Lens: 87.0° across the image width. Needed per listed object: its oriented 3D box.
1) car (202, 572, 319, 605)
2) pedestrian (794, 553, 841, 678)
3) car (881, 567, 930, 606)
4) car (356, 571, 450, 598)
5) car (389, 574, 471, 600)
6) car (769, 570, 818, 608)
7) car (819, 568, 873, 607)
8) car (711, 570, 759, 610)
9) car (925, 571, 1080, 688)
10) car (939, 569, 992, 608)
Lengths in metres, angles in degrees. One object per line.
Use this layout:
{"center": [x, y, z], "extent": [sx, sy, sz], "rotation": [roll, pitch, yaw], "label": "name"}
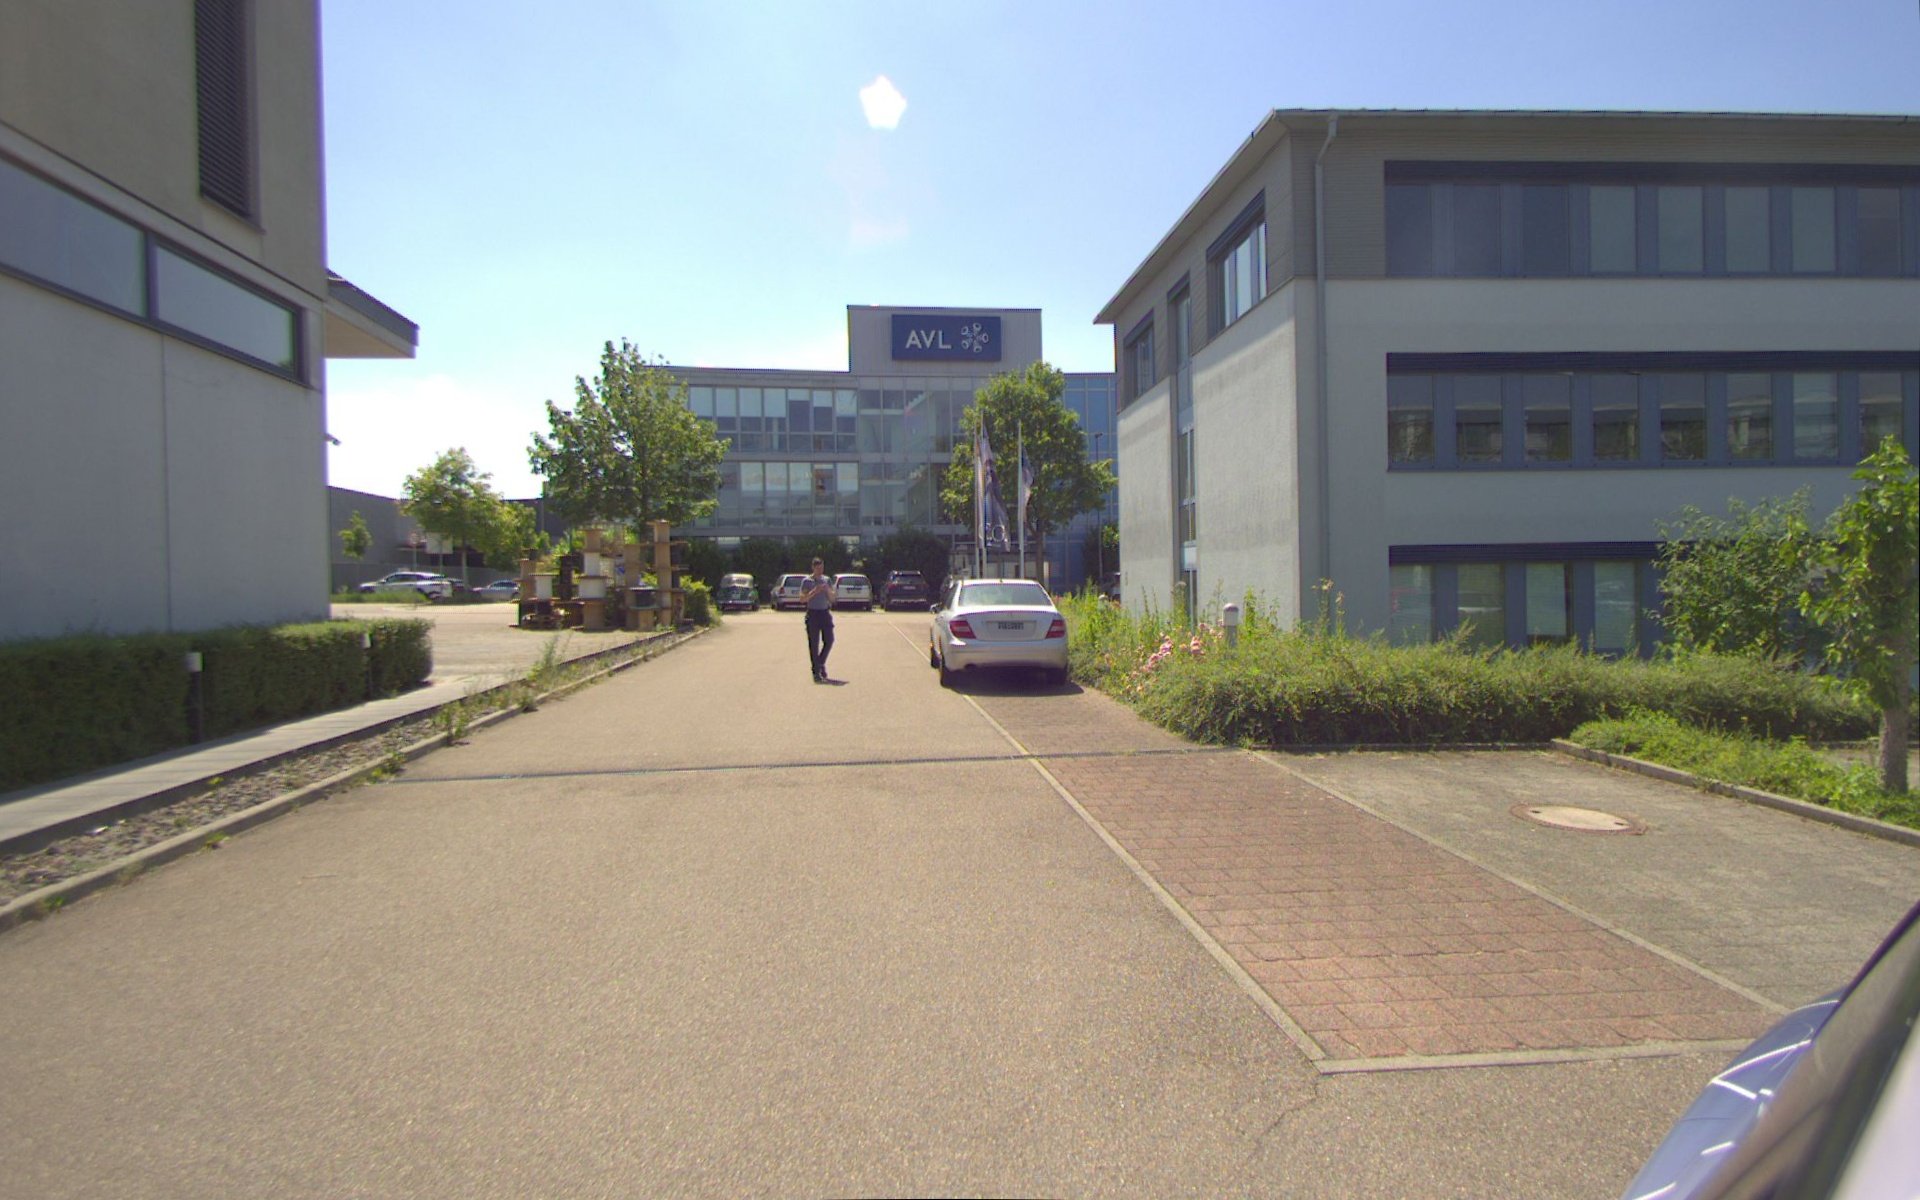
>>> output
{"center": [-32.042, -0.503, 46.404], "extent": [4.372, 1.433, 1.746], "rotation": [0, 0, 8], "label": "car"}
{"center": [-2.090, 0.215, 14.806], "extent": [0.606, 1.779, 0.789], "rotation": [-1, 0, -12], "label": "pedestrian"}
{"center": [-2.323, -0.564, 42.185], "extent": [1.714, 1.538, 4.005], "rotation": [-1, 1, -7], "label": "car"}
{"center": [-30.874, -0.833, 56.174], "extent": [4.371, 1.433, 1.746], "rotation": [0, 0, 6], "label": "car"}
{"center": [-30.843, -0.759, 58.934], "extent": [3.995, 1.433, 1.746], "rotation": [0, 0, 6], "label": "car"}
{"center": [-6.856, -0.451, 41.439], "extent": [1.639, 1.459, 4.008], "rotation": [-1, 1, -14], "label": "car"}
{"center": [-4.811, -0.508, 42.326], "extent": [1.713, 1.538, 4.008], "rotation": [-1, 1, -14], "label": "car"}
{"center": [-9.056, -0.401, 40.944], "extent": [1.713, 1.538, 4.007], "rotation": [-1, 1, -10], "label": "car"}
{"center": [0.485, 0.349, 14.665], "extent": [1.695, 1.454, 3.721], "rotation": [-1, 1, -6], "label": "car"}
{"center": [0.167, -0.483, 42.773], "extent": [1.714, 1.538, 4.005], "rotation": [-1, 1, -7], "label": "car"}
